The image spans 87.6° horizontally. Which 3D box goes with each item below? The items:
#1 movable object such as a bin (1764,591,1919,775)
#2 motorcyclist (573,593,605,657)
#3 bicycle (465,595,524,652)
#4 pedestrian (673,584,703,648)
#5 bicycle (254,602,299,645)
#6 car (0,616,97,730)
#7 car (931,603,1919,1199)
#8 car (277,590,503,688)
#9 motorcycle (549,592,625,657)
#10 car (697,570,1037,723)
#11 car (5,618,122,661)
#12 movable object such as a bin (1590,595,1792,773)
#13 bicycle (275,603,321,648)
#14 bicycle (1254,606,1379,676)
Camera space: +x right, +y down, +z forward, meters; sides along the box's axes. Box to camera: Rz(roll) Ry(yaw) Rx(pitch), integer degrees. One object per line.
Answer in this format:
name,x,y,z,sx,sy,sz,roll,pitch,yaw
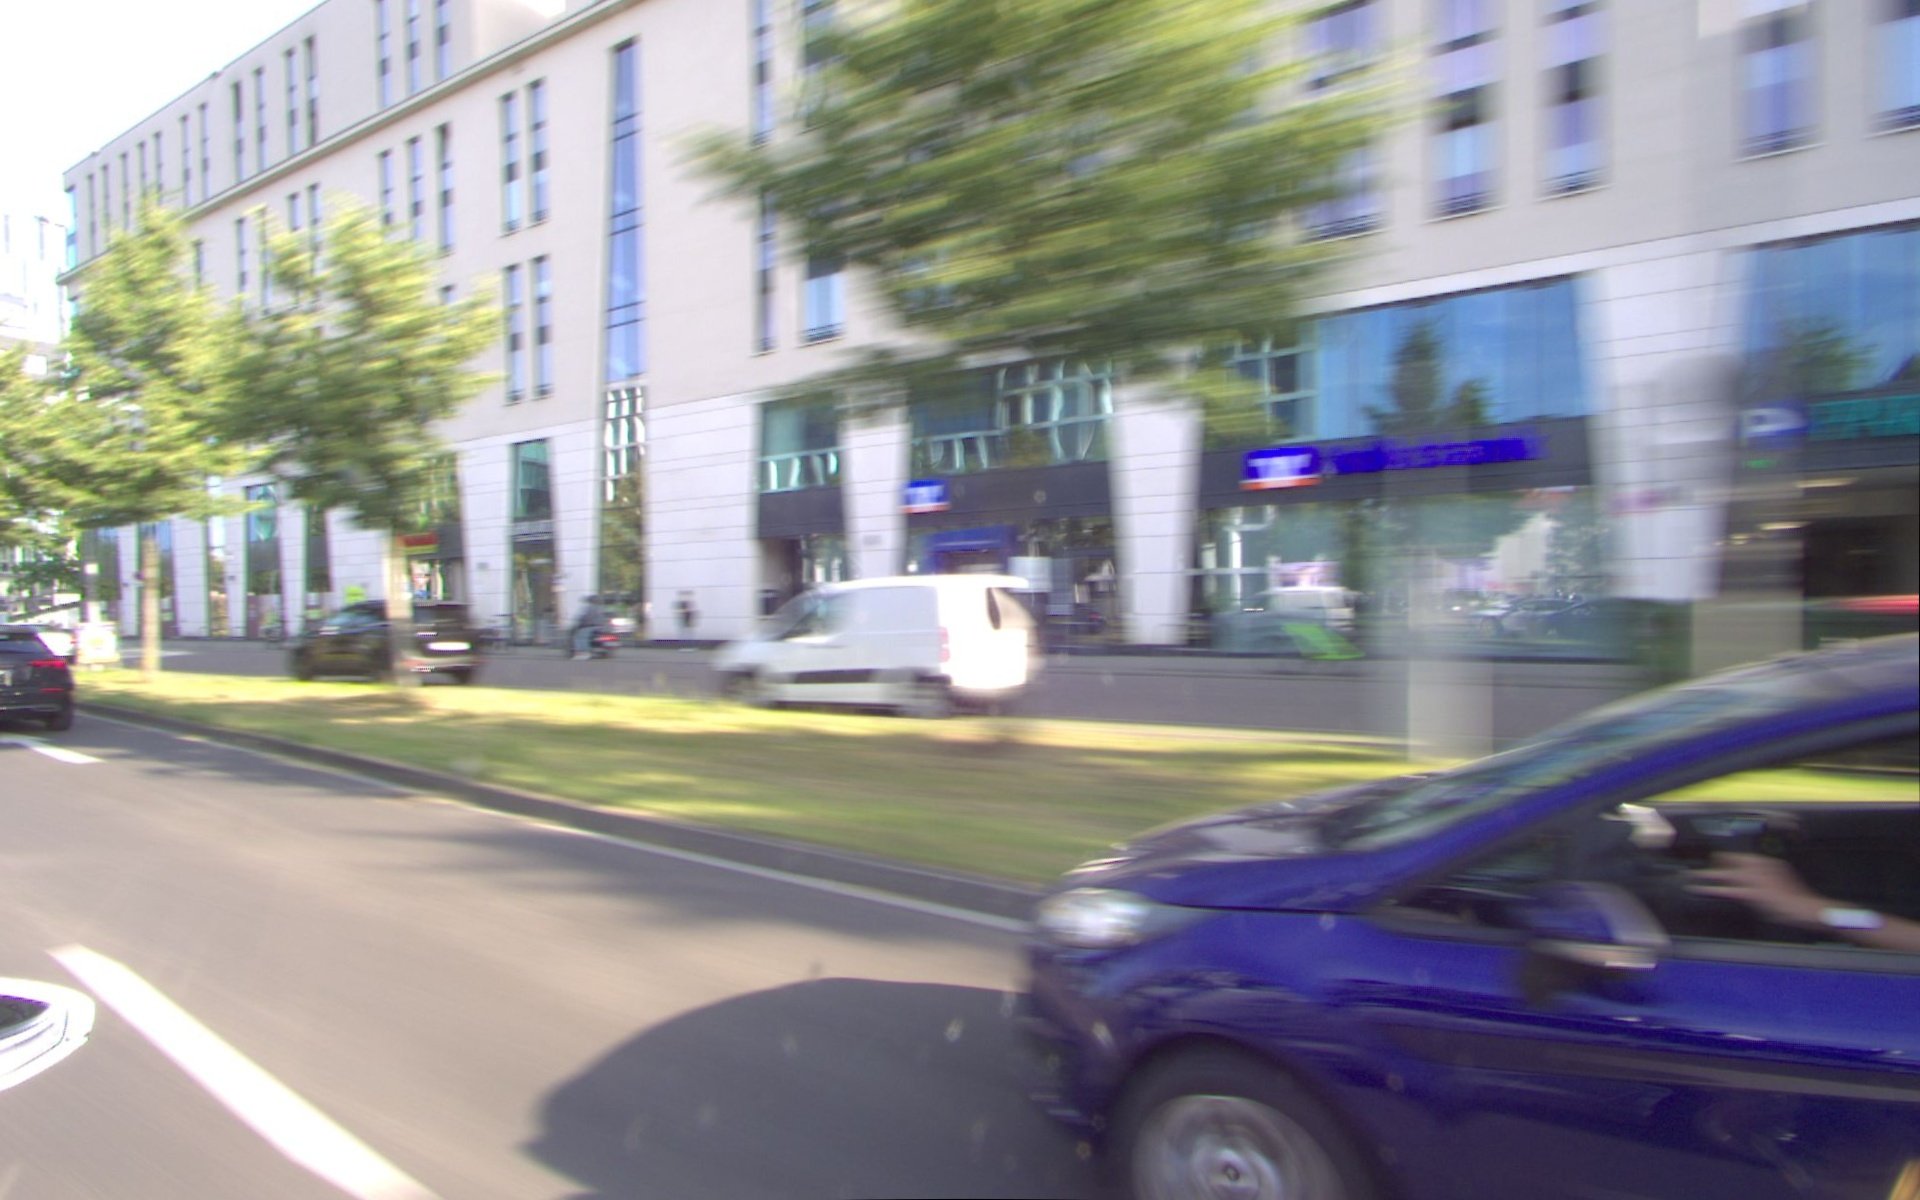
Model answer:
movable object such as a bin,6.846,0.587,7.403,1.173,1.252,1.276,-1,-2,29
motorcyclist,-9.880,0.658,26.692,0.411,1.663,0.622,0,3,28
bicycle,-13.954,0.714,29.993,2.181,1.639,0.554,-1,-2,33
pedestrian,-7.704,0.470,28.398,0.637,1.785,0.536,-1,-1,32
bicycle,-25.518,0.887,37.365,2.244,1.591,0.554,-1,-2,33
car,-13.697,0.959,13.746,3.905,1.442,1.771,-1,-2,33
car,1.937,0.744,1.972,3.856,1.442,1.556,-1,-2,36
car,-11.321,0.716,19.809,4.609,1.730,1.894,0,-1,31
motorcycle,-9.974,0.653,26.750,1.982,1.640,0.699,-1,4,30
car,-1.274,0.589,13.244,4.232,1.733,1.825,-1,-2,30
car,-28.033,1.232,31.298,3.849,1.258,1.706,-1,-2,31
movable object such as a bin,5.909,0.649,8.217,1.160,1.308,1.276,-1,-2,29
bicycle,-23.528,0.920,35.576,2.181,1.587,0.554,-1,-2,33
bicycle,6.029,0.680,16.988,1.917,1.131,0.490,-1,1,32
